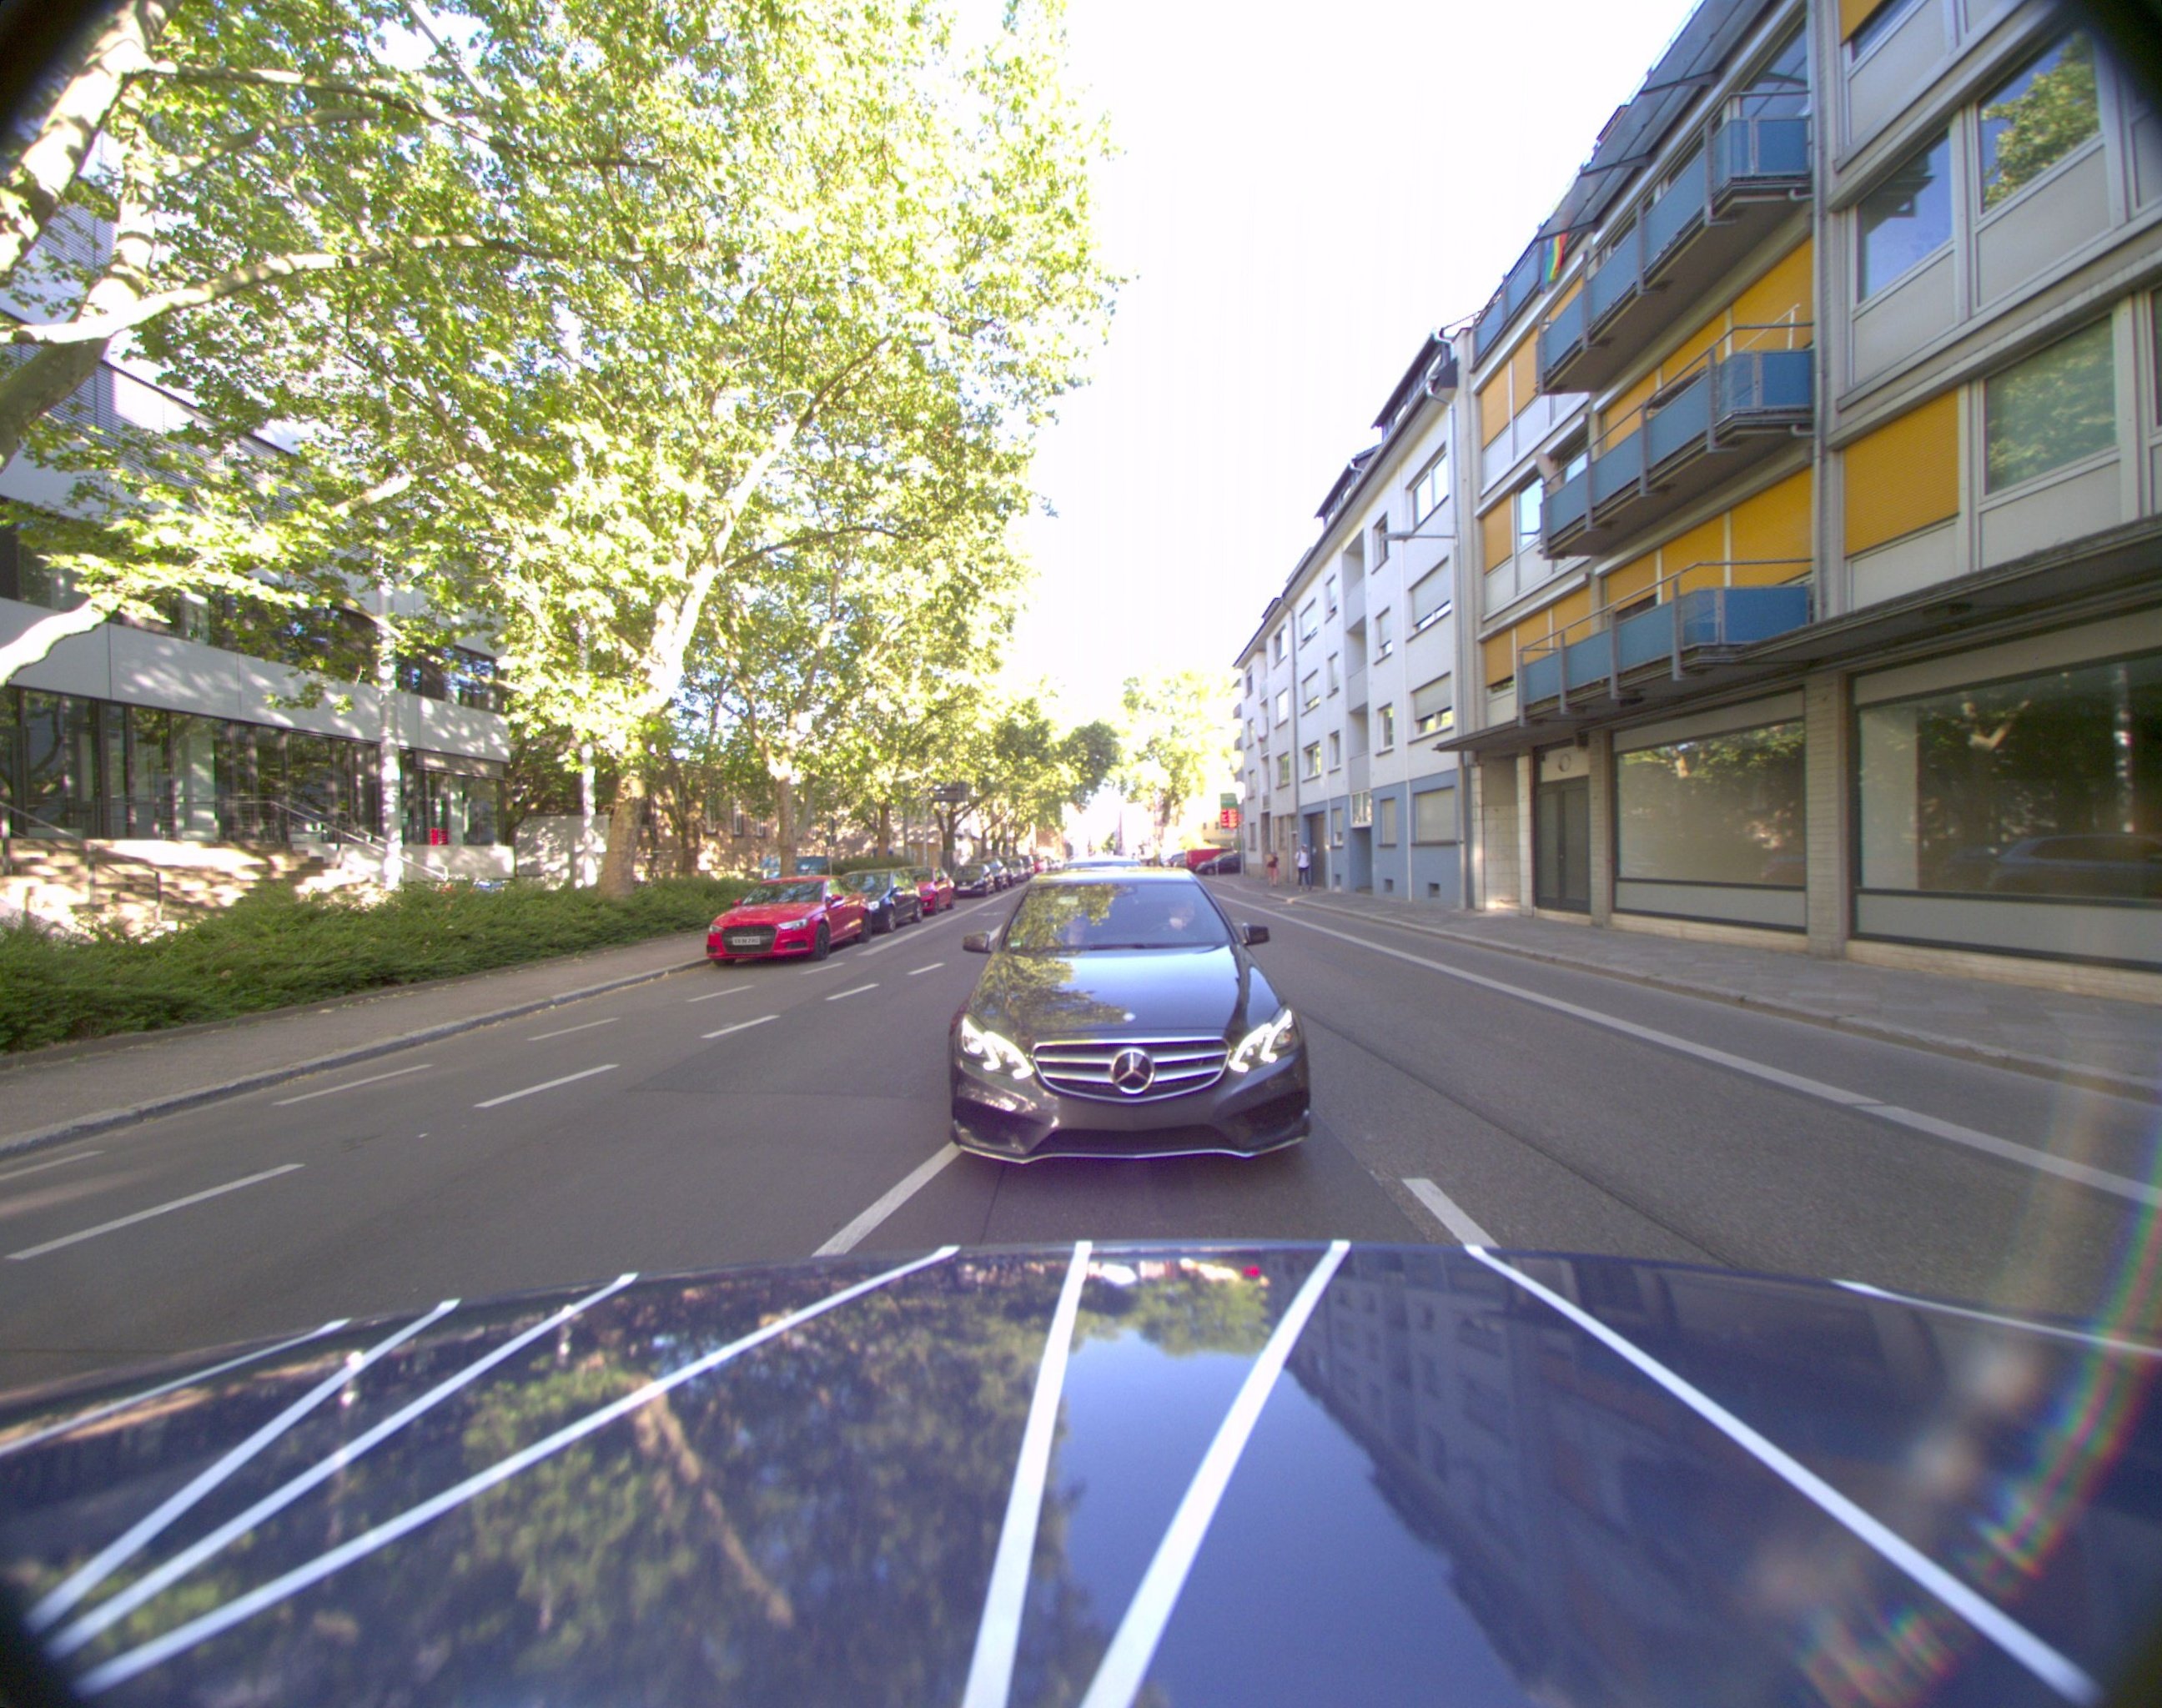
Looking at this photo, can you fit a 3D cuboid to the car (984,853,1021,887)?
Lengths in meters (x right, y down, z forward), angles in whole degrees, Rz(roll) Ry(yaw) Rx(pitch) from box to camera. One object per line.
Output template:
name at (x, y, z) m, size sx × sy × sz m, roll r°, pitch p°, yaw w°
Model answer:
car at (-4.497, 0.857, 43.980) m, size 1.635 × 1.795 × 3.845 m, roll -3°, pitch 0°, yaw 1°

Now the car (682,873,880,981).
car at (-5.138, 1.164, 13.682) m, size 1.804 × 1.455 × 4.125 m, roll -3°, pitch 0°, yaw 1°

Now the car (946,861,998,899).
car at (-4.696, 1.096, 33.176) m, size 1.635 × 1.455 × 3.740 m, roll -3°, pitch 0°, yaw 1°

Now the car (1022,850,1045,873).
car at (-4.135, 0.642, 66.157) m, size 1.635 × 1.878 × 3.673 m, roll -3°, pitch 0°, yaw 1°

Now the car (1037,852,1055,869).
car at (-3.950, 0.719, 86.113) m, size 1.635 × 1.713 × 3.673 m, roll -3°, pitch 0°, yaw 1°

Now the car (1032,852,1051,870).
car at (-4.019, 0.721, 78.164) m, size 1.635 × 1.713 × 3.673 m, roll -3°, pitch 0°, yaw 1°

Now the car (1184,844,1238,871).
car at (10.230, 0.259, 59.956) m, size 3.927 × 1.912 × 1.636 m, roll -3°, pitch 0°, yaw 1°

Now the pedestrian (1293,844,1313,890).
pedestrian at (8.478, 0.488, 29.045) m, size 0.569 × 1.716 × 0.343 m, roll -3°, pitch 1°, yaw 1°

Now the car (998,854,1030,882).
car at (-4.430, 0.900, 50.745) m, size 1.635 × 1.644 × 3.845 m, roll -3°, pitch 0°, yaw 1°

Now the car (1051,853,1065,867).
car at (-3.043, 0.792, 102.819) m, size 1.635 × 1.713 × 3.673 m, roll -3°, pitch 0°, yaw 1°

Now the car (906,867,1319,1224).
car at (0.172, 0.913, 5.519) m, size 1.804 × 1.455 × 4.125 m, roll -3°, pitch 0°, yaw 1°

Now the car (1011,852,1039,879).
car at (-4.072, 0.831, 55.566) m, size 1.635 × 1.799 × 3.673 m, roll -3°, pitch 0°, yaw 1°

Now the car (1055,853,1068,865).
car at (-2.745, 0.717, 109.841) m, size 1.635 × 1.713 × 3.673 m, roll -3°, pitch 0°, yaw 1°

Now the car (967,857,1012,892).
car at (-4.528, 0.972, 38.059) m, size 1.635 × 1.578 × 3.845 m, roll -3°, pitch 0°, yaw 1°

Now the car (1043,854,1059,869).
car at (-3.636, 0.927, 92.534) m, size 1.635 × 1.713 × 3.673 m, roll -3°, pitch 0°, yaw 1°

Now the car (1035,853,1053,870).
car at (-3.937, 0.761, 82.071) m, size 1.635 × 1.713 × 3.673 m, roll -3°, pitch 0°, yaw 1°

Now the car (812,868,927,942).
car at (-4.998, 1.148, 18.496) m, size 1.635 × 1.455 × 3.740 m, roll -3°, pitch 0°, yaw 1°

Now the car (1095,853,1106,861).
car at (3.731, 0.502, 146.164) m, size 1.853 × 1.455 × 4.099 m, roll -3°, pitch 0°, yaw 1°

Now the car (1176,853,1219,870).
car at (9.598, 0.635, 62.569) m, size 3.325 × 1.241 × 1.295 m, roll -3°, pitch 0°, yaw 1°

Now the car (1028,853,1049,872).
car at (-3.953, 0.786, 71.217) m, size 1.635 × 1.713 × 3.673 m, roll -3°, pitch 0°, yaw 1°

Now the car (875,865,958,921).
car at (-4.996, 1.147, 23.590) m, size 1.635 × 1.455 × 3.740 m, roll -3°, pitch 0°, yaw 1°

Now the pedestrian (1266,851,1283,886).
pedestrian at (8.523, 0.650, 33.454) m, size 0.569 × 1.509 × 0.343 m, roll -3°, pitch 1°, yaw 1°

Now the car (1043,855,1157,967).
car at (0.327, 0.880, 13.784) m, size 1.680 × 1.622 × 4.125 m, roll -3°, pitch 0°, yaw 1°

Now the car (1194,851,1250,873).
car at (10.111, 0.556, 54.729) m, size 3.670 × 1.403 × 1.636 m, roll -3°, pitch 0°, yaw 1°
